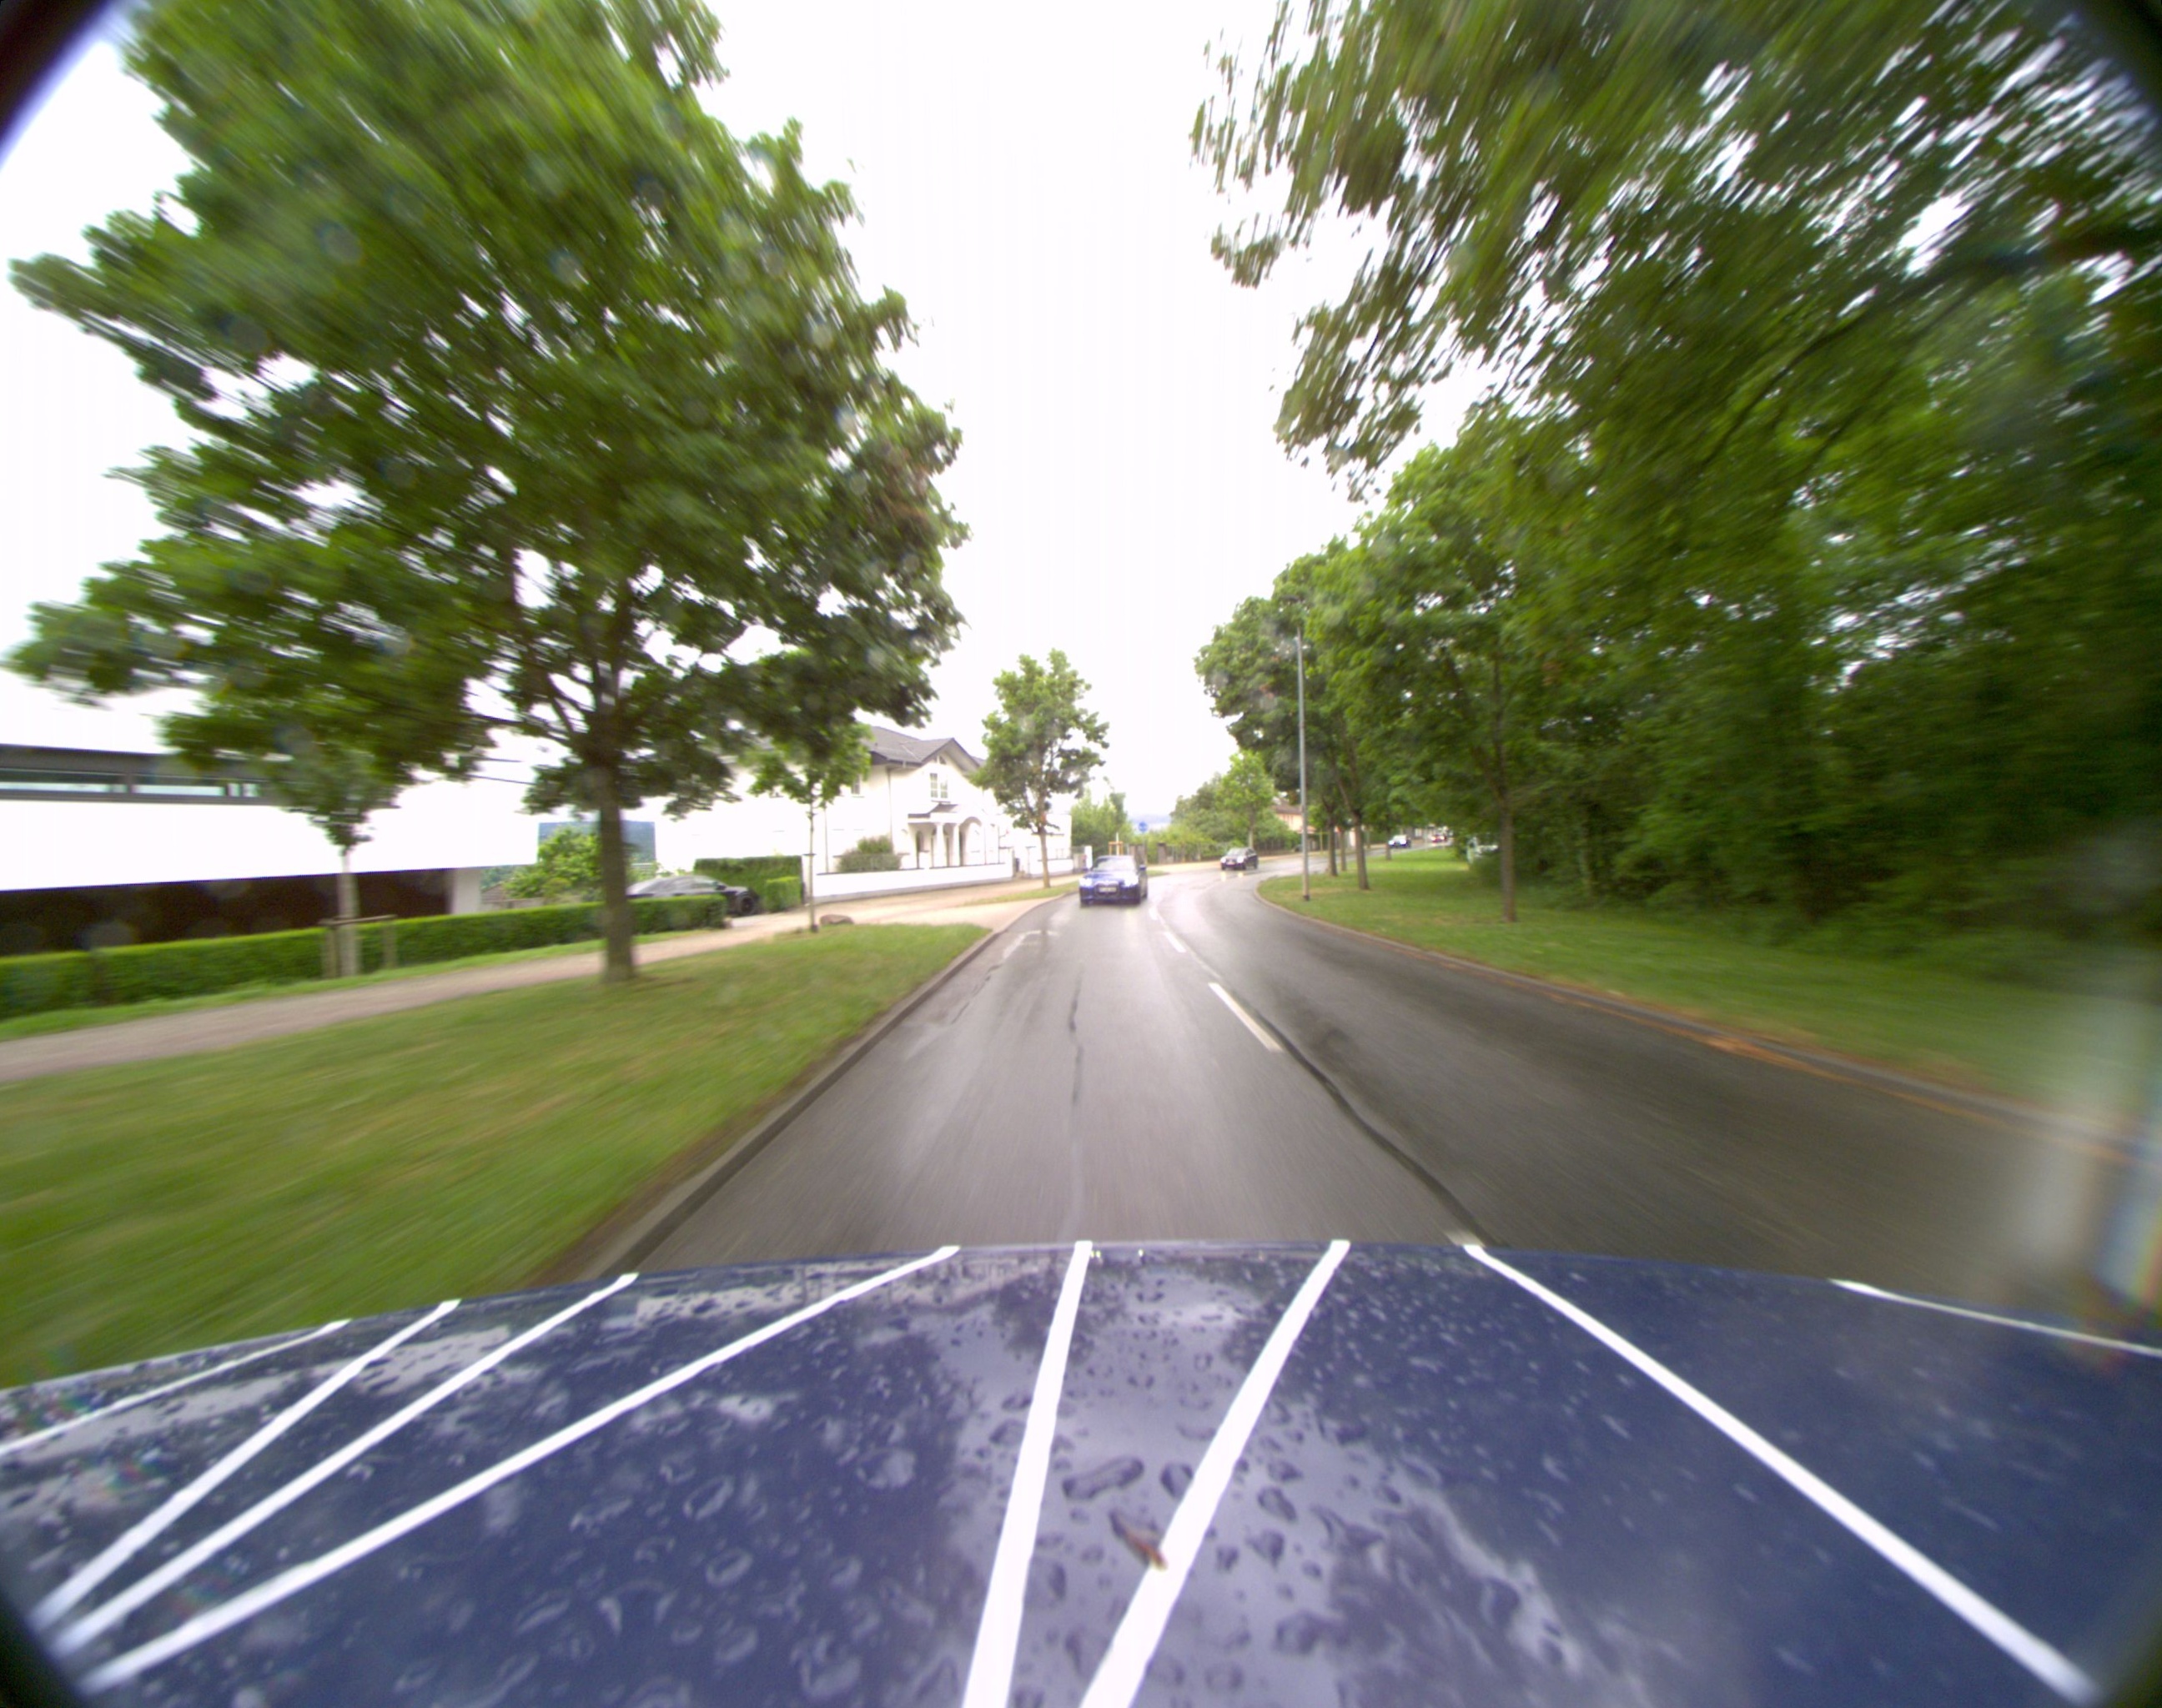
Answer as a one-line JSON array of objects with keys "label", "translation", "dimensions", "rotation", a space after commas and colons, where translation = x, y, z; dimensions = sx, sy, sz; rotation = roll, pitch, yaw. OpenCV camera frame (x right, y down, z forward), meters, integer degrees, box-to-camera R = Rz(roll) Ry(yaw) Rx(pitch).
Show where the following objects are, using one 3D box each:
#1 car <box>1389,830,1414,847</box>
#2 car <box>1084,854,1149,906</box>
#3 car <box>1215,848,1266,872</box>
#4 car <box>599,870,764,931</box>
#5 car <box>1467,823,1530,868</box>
[{"label": "car", "translation": [39.568, -1.939, 93.879], "dimensions": [1.995, 1.848, 4.007], "rotation": [-3, 1, 34]}, {"label": "car", "translation": [1.207, 0.769, 24.310], "dimensions": [1.814, 1.459, 3.976], "rotation": [0, 1, 6]}, {"label": "car", "translation": [10.980, 0.391, 52.096], "dimensions": [1.926, 1.374, 4.315], "rotation": [-3, 1, 32]}, {"label": "car", "translation": [-12.994, 1.461, 25.046], "dimensions": [1.922, 1.541, 4.466], "rotation": [-4, 1, 24]}, {"label": "car", "translation": [19.670, -0.321, 36.027], "dimensions": [2.129, 1.974, 5.485], "rotation": [0, -1, 24]}]
